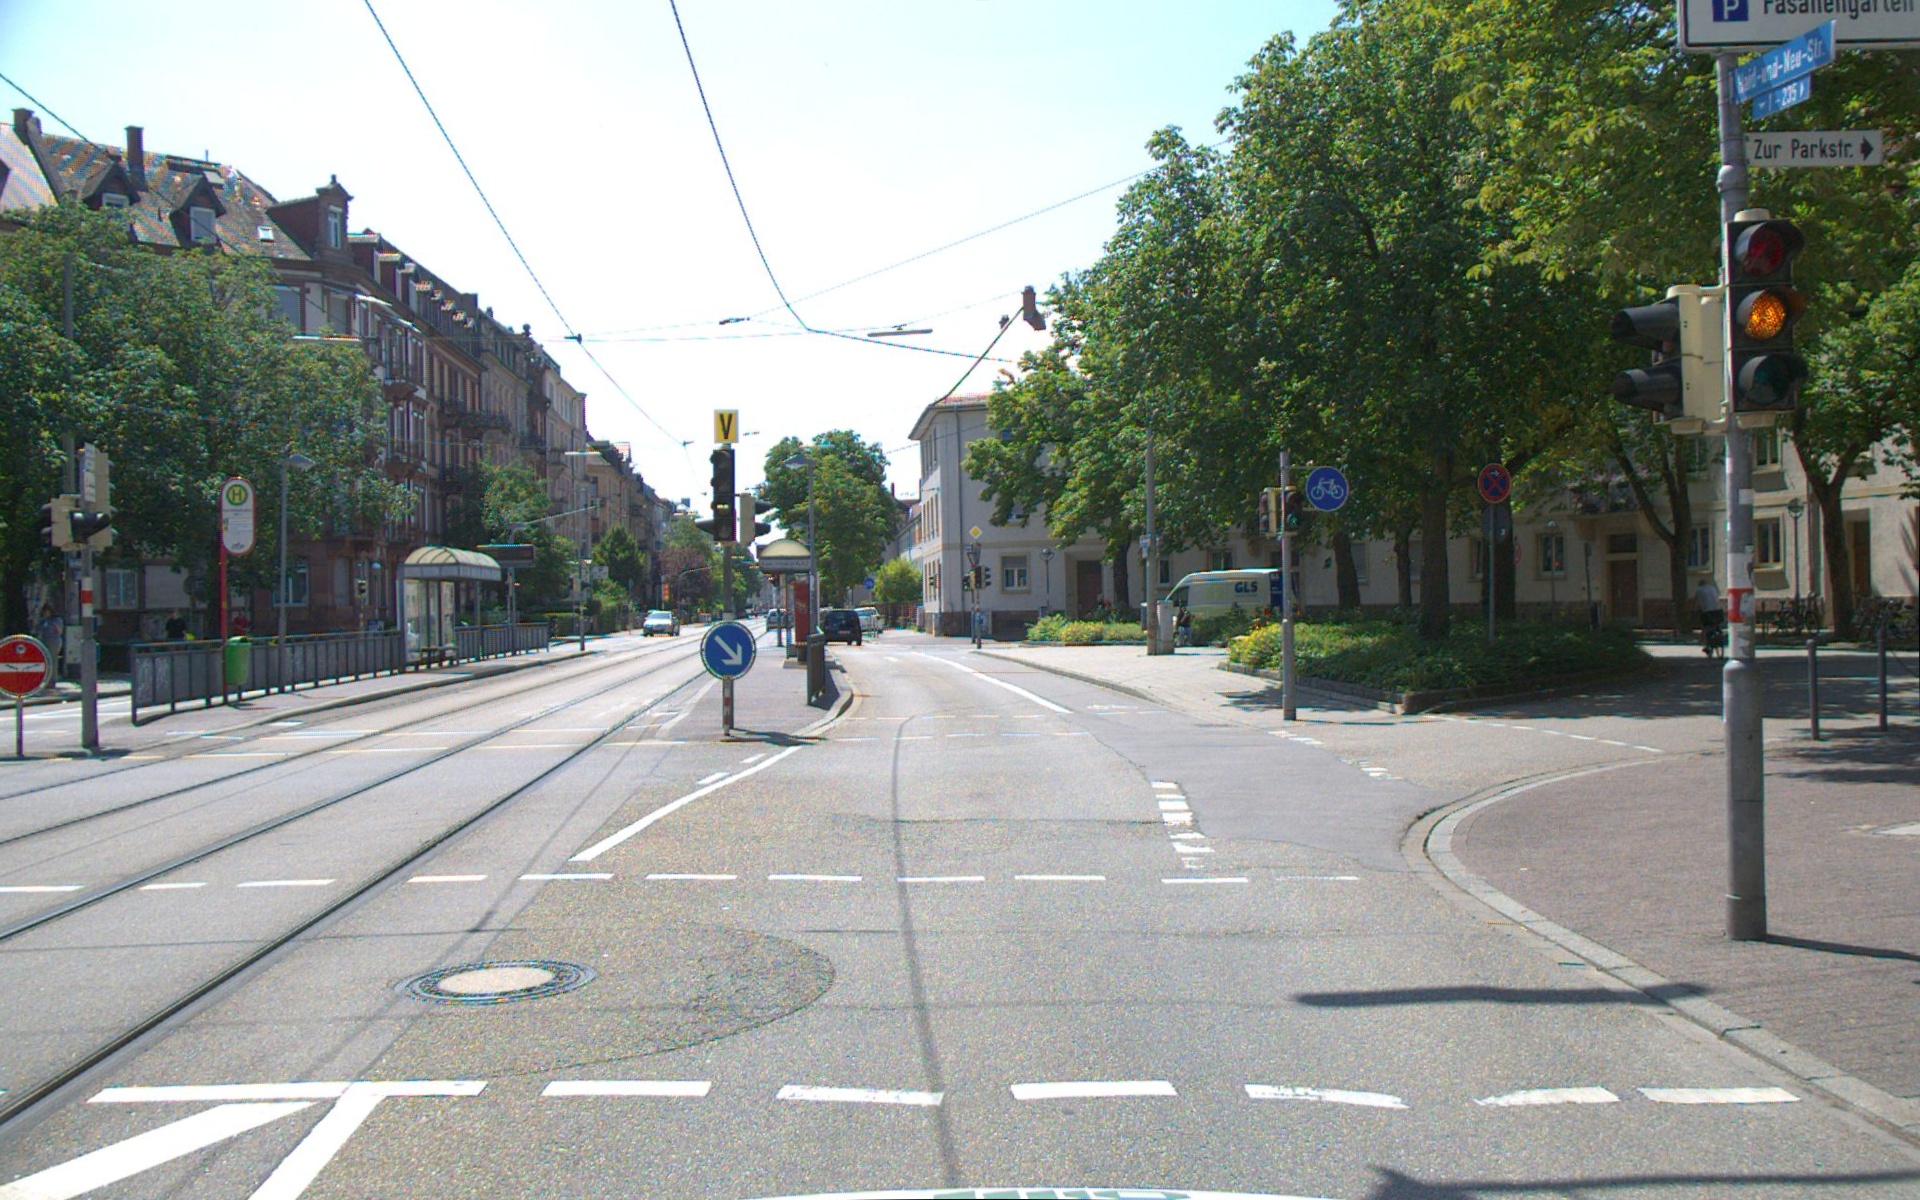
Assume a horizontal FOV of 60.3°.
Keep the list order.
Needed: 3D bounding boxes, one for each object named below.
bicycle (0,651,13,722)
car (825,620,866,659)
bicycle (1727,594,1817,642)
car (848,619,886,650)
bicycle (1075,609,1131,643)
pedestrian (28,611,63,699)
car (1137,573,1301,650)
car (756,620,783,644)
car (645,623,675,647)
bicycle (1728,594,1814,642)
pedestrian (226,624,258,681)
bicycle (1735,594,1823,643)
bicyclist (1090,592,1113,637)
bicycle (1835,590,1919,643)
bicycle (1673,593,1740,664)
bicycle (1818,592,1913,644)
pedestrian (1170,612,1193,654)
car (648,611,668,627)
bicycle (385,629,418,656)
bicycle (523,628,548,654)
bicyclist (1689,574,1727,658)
[{"bbox_3d":[-16.395,1.457,27.261,0.616,1.177,1.975,-1,0,-6],"label":"bicycle"},{"bbox_3d":[-4.696,1.584,67.539,1.495,1.469,3.360,-3,-1,-6],"label":"car"},{"bbox_3d":[23.469,0.523,47.824,2.272,1.368,0.515,-1,-1,5],"label":"bicycle"},{"bbox_3d":[-5.050,1.855,89.165,1.714,1.498,3.932,-5,0,-7],"label":"car"},{"bbox_3d":[5.476,0.992,63.338,2.040,1.258,0.580,-1,-1,27],"label":"bicycle"},{"bbox_3d":[-20.059,1.210,36.278,0.500,1.912,0.493,-1,-1,-2],"label":"pedestrian"},{"bbox_3d":[9.217,0.449,59.288,5.752,2.635,1.986,-2,-1,45],"label":"car"},{"bbox_3d":[-13.091,2.197,113.478,1.498,1.481,3.355,-3,-1,-11],"label":"car"},{"bbox_3d":[-17.716,2.082,97.705,1.511,1.362,3.712,-1,-1,-7],"label":"car"},{"bbox_3d":[22.964,0.519,46.835,2.106,1.323,0.547,-1,-1,5],"label":"bicycle"},{"bbox_3d":[-20.706,1.513,47.686,0.667,1.634,0.771,-1,-1,-10],"label":"pedestrian"},{"bbox_3d":[23.401,0.529,47.294,2.189,1.371,0.515,-1,-1,5],"label":"bicycle"},{"bbox_3d":[5.435,0.557,63.362,0.680,1.675,0.579,-1,-1,27],"label":"bicyclist"},{"bbox_3d":[23.515,0.424,42.118,2.106,1.323,0.547,-1,-1,5],"label":"bicycle"},{"bbox_3d":[16.579,0.629,36.786,0.579,1.511,2.169,-1,-1,3],"label":"bicycle"},{"bbox_3d":[23.555,0.473,43.054,2.106,1.323,0.547,-1,-1,5],"label":"bicycle"},{"bbox_3d":[6.135,0.916,45.794,0.499,1.111,0.478,-3,1,-1],"label":"pedestrian"},{"bbox_3d":[-30.193,1.900,165.486,1.653,1.498,3.930,-5,-1,-9],"label":"car"},{"bbox_3d":[-24.732,1.873,73.281,0.357,1.190,1.515,0,0,32],"label":"bicycle"},{"bbox_3d":[-22.702,2.184,88.397,0.586,1.380,2.413,0,-1,-32],"label":"bicycle"},{"bbox_3d":[16.514,0.355,36.515,0.589,1.831,0.534,-1,-1,3],"label":"bicyclist"}]
